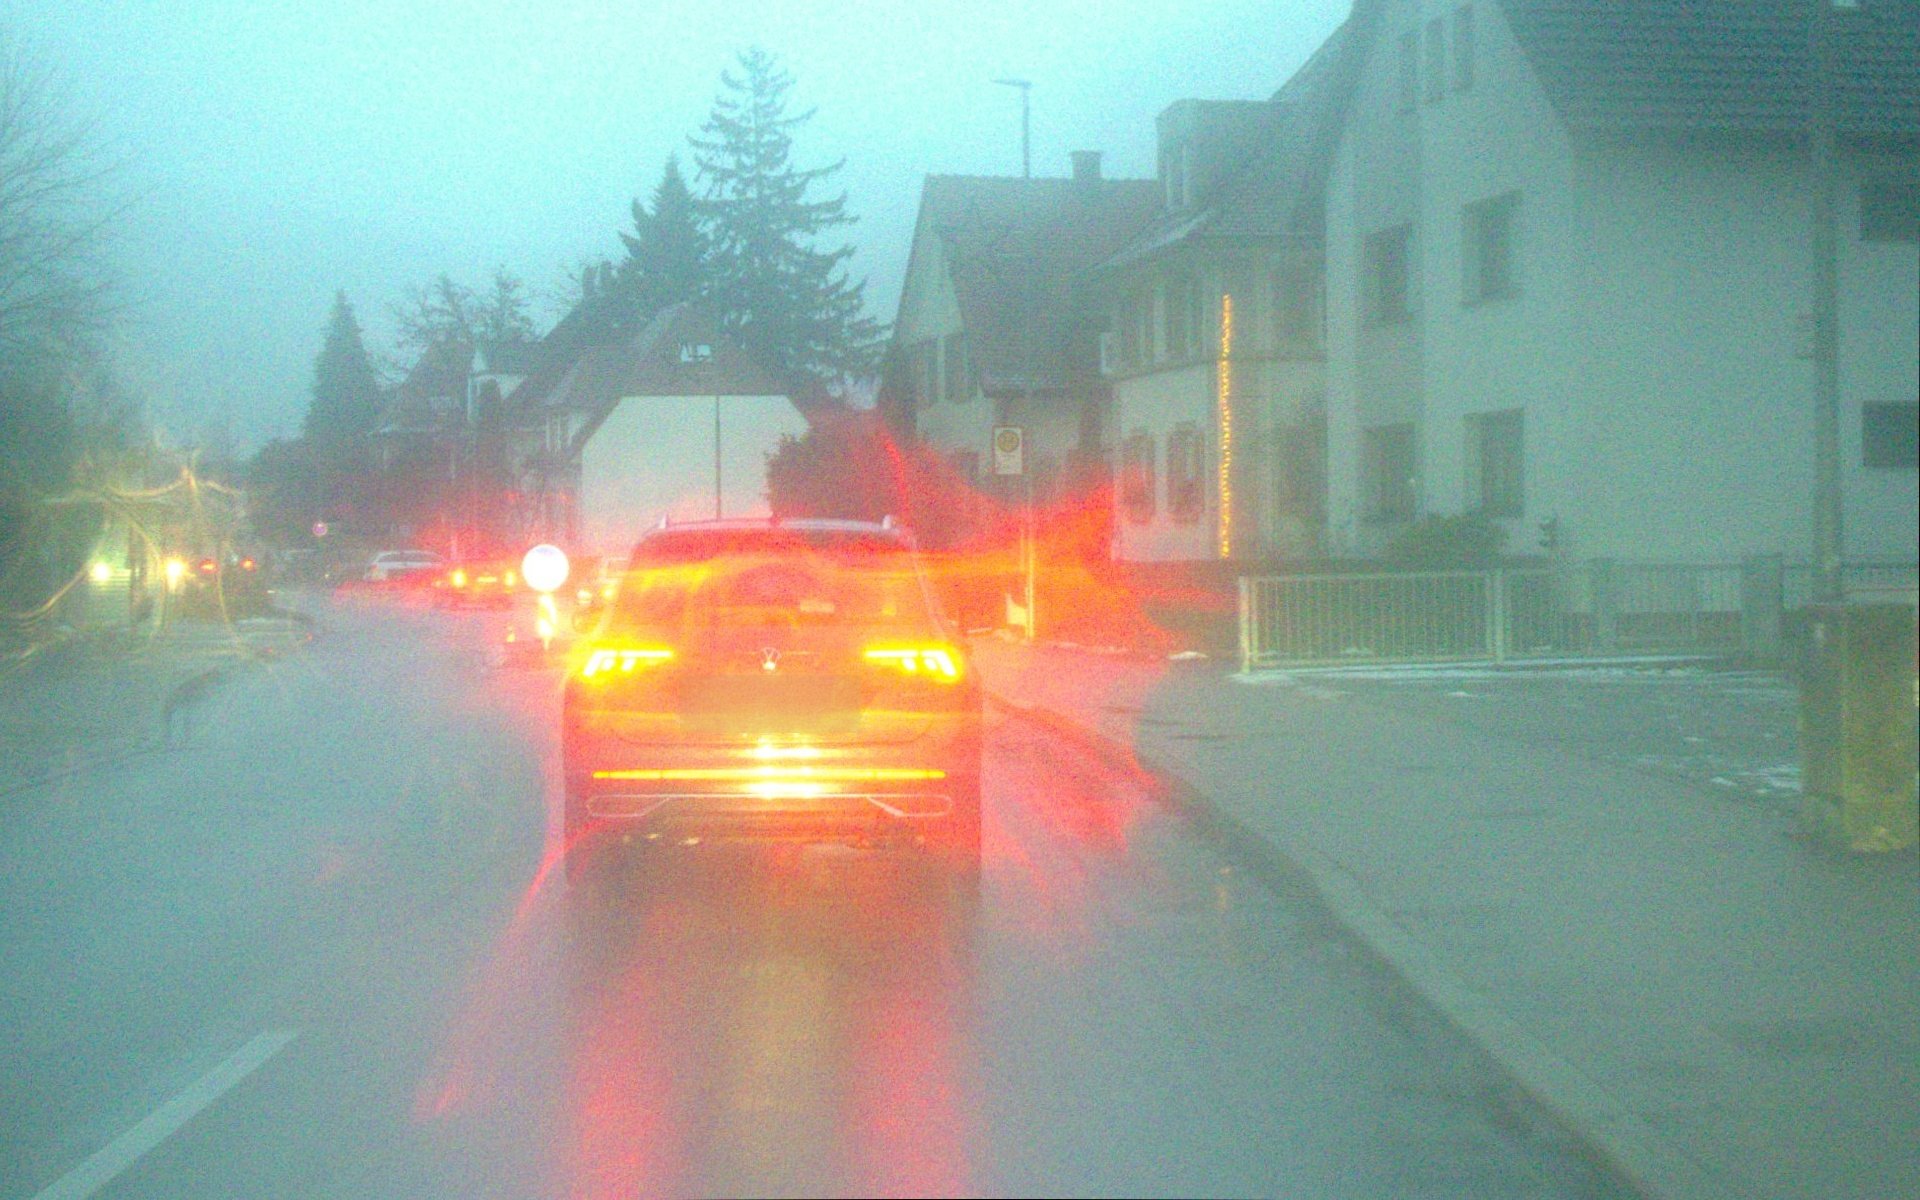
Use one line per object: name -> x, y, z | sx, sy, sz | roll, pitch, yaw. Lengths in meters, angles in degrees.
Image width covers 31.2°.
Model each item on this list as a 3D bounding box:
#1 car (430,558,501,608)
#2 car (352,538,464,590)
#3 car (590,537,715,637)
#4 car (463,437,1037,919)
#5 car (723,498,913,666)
car -> -13.653, -0.484, 94.748 | 1.842, 1.327, 3.939 | -1, 1, -9
car -> -21.947, -1.433, 136.602 | 4.245, 2.007, 1.811 | -1, 1, -14
car -> -6.264, -0.266, 69.610 | 2.309, 1.932, 5.019 | -1, 0, -7
car -> -0.929, 0.299, 16.497 | 2.309, 1.932, 5.018 | -1, 0, -2
car -> -1.466, -0.215, 35.860 | 1.857, 1.641, 4.001 | 1, 1, -2
